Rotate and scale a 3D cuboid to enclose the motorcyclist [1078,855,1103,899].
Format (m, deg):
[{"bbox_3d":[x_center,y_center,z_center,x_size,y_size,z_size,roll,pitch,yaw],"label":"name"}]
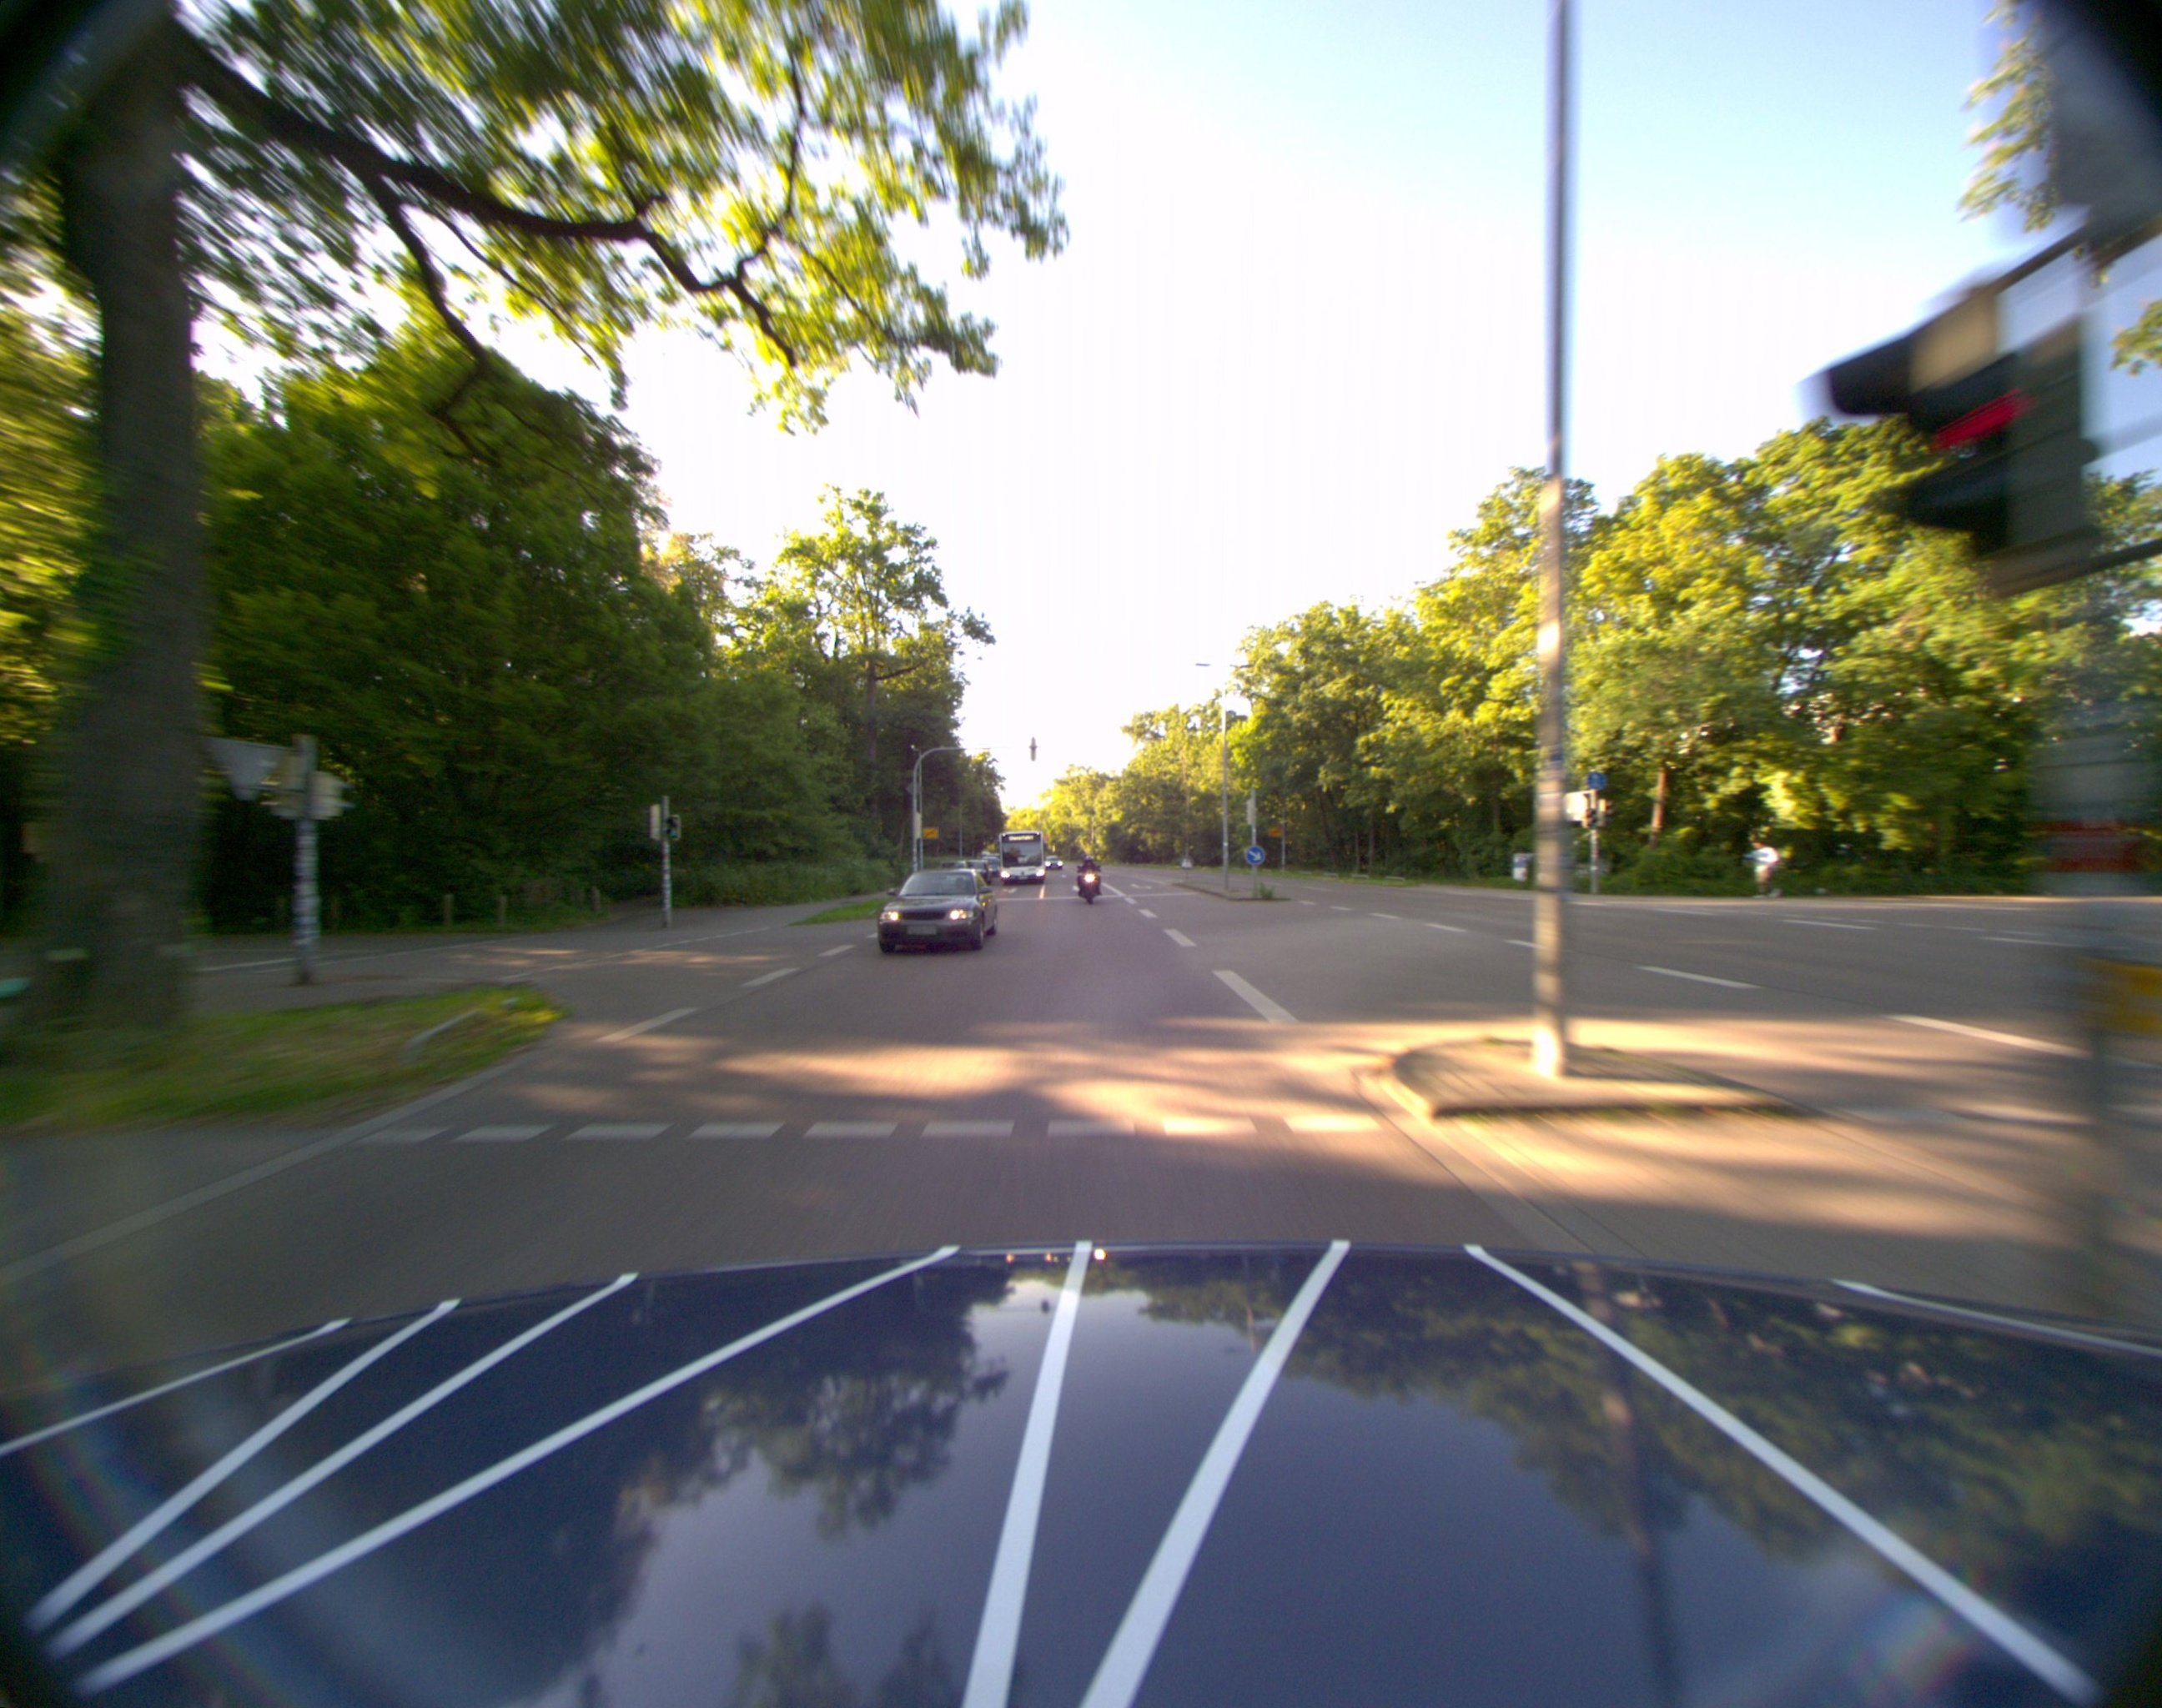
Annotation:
[{"bbox_3d":[0.329,0.780,26.152,0.830,1.484,1.024,-1,1,1],"label":"motorcyclist"}]

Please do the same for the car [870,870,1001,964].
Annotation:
[{"bbox_3d":[-2.525,1.041,14.091,1.679,1.351,3.994,-2,0,-1],"label":"car"}]

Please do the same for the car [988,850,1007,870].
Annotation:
[{"bbox_3d":[-8.407,0.558,76.677,1.820,1.910,5.264,-2,1,-6],"label":"car"}]

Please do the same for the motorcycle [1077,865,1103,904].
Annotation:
[{"bbox_3d":[0.323,1.027,26.160,0.830,1.211,2.604,-1,0,1],"label":"motorcycle"}]

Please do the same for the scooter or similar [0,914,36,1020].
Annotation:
[{"bbox_3d":[-11.985,1.239,7.927,0.378,1.137,1.224,-1,0,6],"label":"scooter or similar"}]

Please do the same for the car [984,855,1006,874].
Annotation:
[{"bbox_3d":[-7.561,0.915,67.147,1.820,1.470,3.827,-2,1,-6],"label":"car"}]

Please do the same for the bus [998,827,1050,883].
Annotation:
[{"bbox_3d":[-3.491,0.065,48.685,2.813,3.030,12.882,-1,0,-3],"label":"bus"}]

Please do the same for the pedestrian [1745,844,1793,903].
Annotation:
[{"bbox_3d":[20.124,0.566,22.251,0.649,1.701,0.819,0,1,-1],"label":"pedestrian"}]

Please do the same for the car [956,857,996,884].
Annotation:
[{"bbox_3d":[-6.138,0.930,44.958,1.766,1.460,5.115,0,1,-1],"label":"car"}]

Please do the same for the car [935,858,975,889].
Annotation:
[{"bbox_3d":[-6.461,0.967,39.245,1.723,1.460,3.871,0,1,-4],"label":"car"}]

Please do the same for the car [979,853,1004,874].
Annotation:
[{"bbox_3d":[-7.230,0.725,61.750,1.820,1.624,3.827,0,1,-4],"label":"car"}]

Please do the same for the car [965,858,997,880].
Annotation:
[{"bbox_3d":[-6.664,0.976,50.953,1.677,1.396,4.230,0,1,-1],"label":"car"}]

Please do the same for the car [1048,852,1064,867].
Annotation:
[{"bbox_3d":[-2.774,0.596,82.982,1.679,1.552,3.993,-2,0,-3],"label":"car"}]
